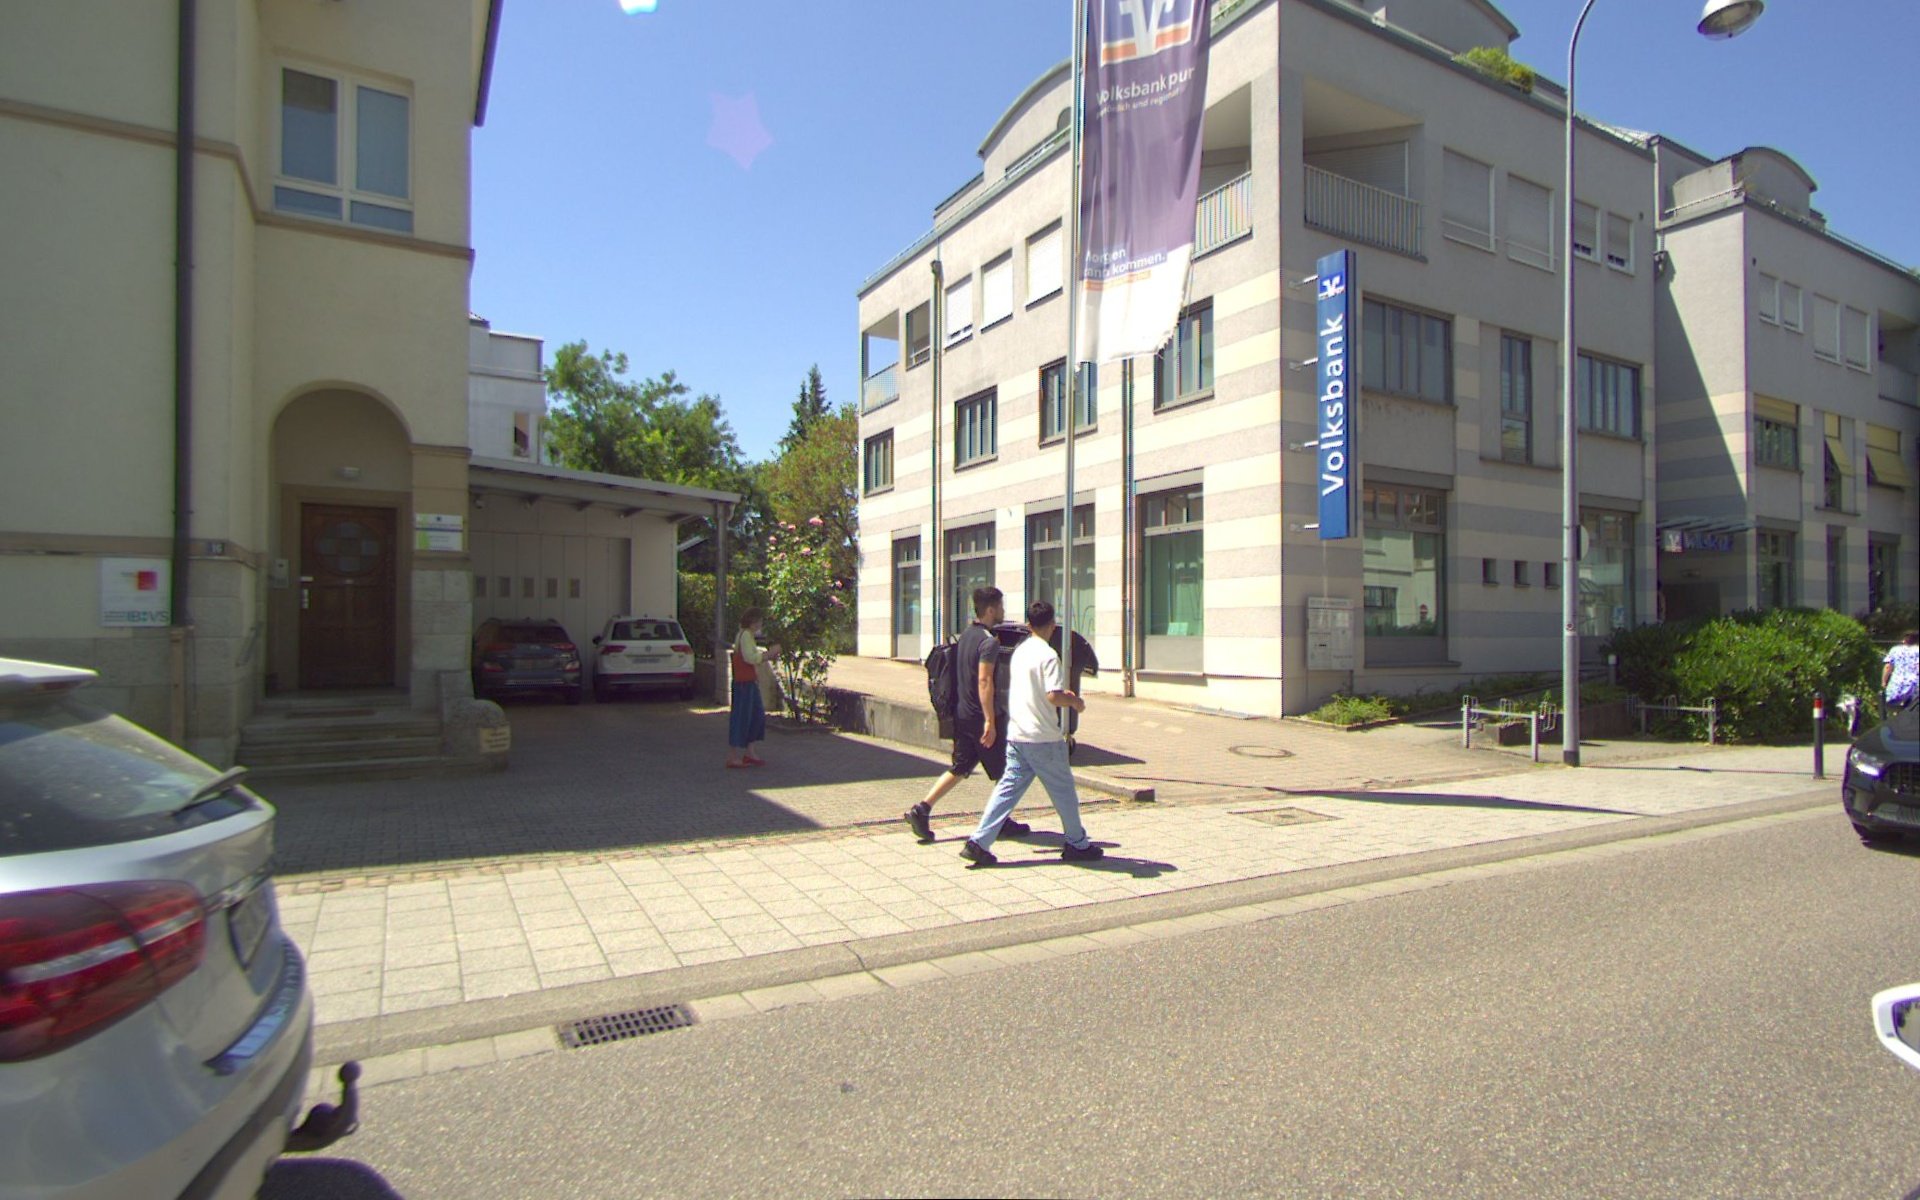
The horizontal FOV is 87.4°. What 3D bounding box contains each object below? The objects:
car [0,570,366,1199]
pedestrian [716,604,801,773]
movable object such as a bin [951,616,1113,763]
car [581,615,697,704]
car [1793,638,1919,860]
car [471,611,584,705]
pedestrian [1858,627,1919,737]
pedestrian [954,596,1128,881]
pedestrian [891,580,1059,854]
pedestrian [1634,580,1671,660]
[{"bbox_3d":[-3.166,0.719,1.368,3.984,1.531,1.821,2,-3,-30],"label":"car"},{"bbox_3d":[-2.112,0.903,10.510,0.726,1.696,0.537,1,-2,-30],"label":"pedestrian"},{"bbox_3d":[0.801,0.972,11.555,1.279,1.508,1.380,1,1,-29],"label":"movable object such as a bin"},{"bbox_3d":[-6.554,1.143,20.247,1.769,1.600,3.857,1,-2,-25],"label":"car"},{"bbox_3d":[8.554,1.058,7.802,4.212,1.530,1.821,1,-4,-30],"label":"car"},{"bbox_3d":[-8.332,1.057,19.175,1.770,1.600,3.855,1,-2,-26],"label":"car"},{"bbox_3d":[14.780,1.264,15.780,0.838,1.666,0.745,1,-2,-28],"label":"pedestrian"},{"bbox_3d":[0.518,0.836,6.489,0.893,1.699,0.618,1,0,-30],"label":"pedestrian"},{"bbox_3d":[0.101,0.782,7.155,0.940,1.794,0.744,1,-1,-30],"label":"pedestrian"},{"bbox_3d":[15.448,0.452,22.418,0.570,1.762,0.611,0,-2,25],"label":"pedestrian"}]
